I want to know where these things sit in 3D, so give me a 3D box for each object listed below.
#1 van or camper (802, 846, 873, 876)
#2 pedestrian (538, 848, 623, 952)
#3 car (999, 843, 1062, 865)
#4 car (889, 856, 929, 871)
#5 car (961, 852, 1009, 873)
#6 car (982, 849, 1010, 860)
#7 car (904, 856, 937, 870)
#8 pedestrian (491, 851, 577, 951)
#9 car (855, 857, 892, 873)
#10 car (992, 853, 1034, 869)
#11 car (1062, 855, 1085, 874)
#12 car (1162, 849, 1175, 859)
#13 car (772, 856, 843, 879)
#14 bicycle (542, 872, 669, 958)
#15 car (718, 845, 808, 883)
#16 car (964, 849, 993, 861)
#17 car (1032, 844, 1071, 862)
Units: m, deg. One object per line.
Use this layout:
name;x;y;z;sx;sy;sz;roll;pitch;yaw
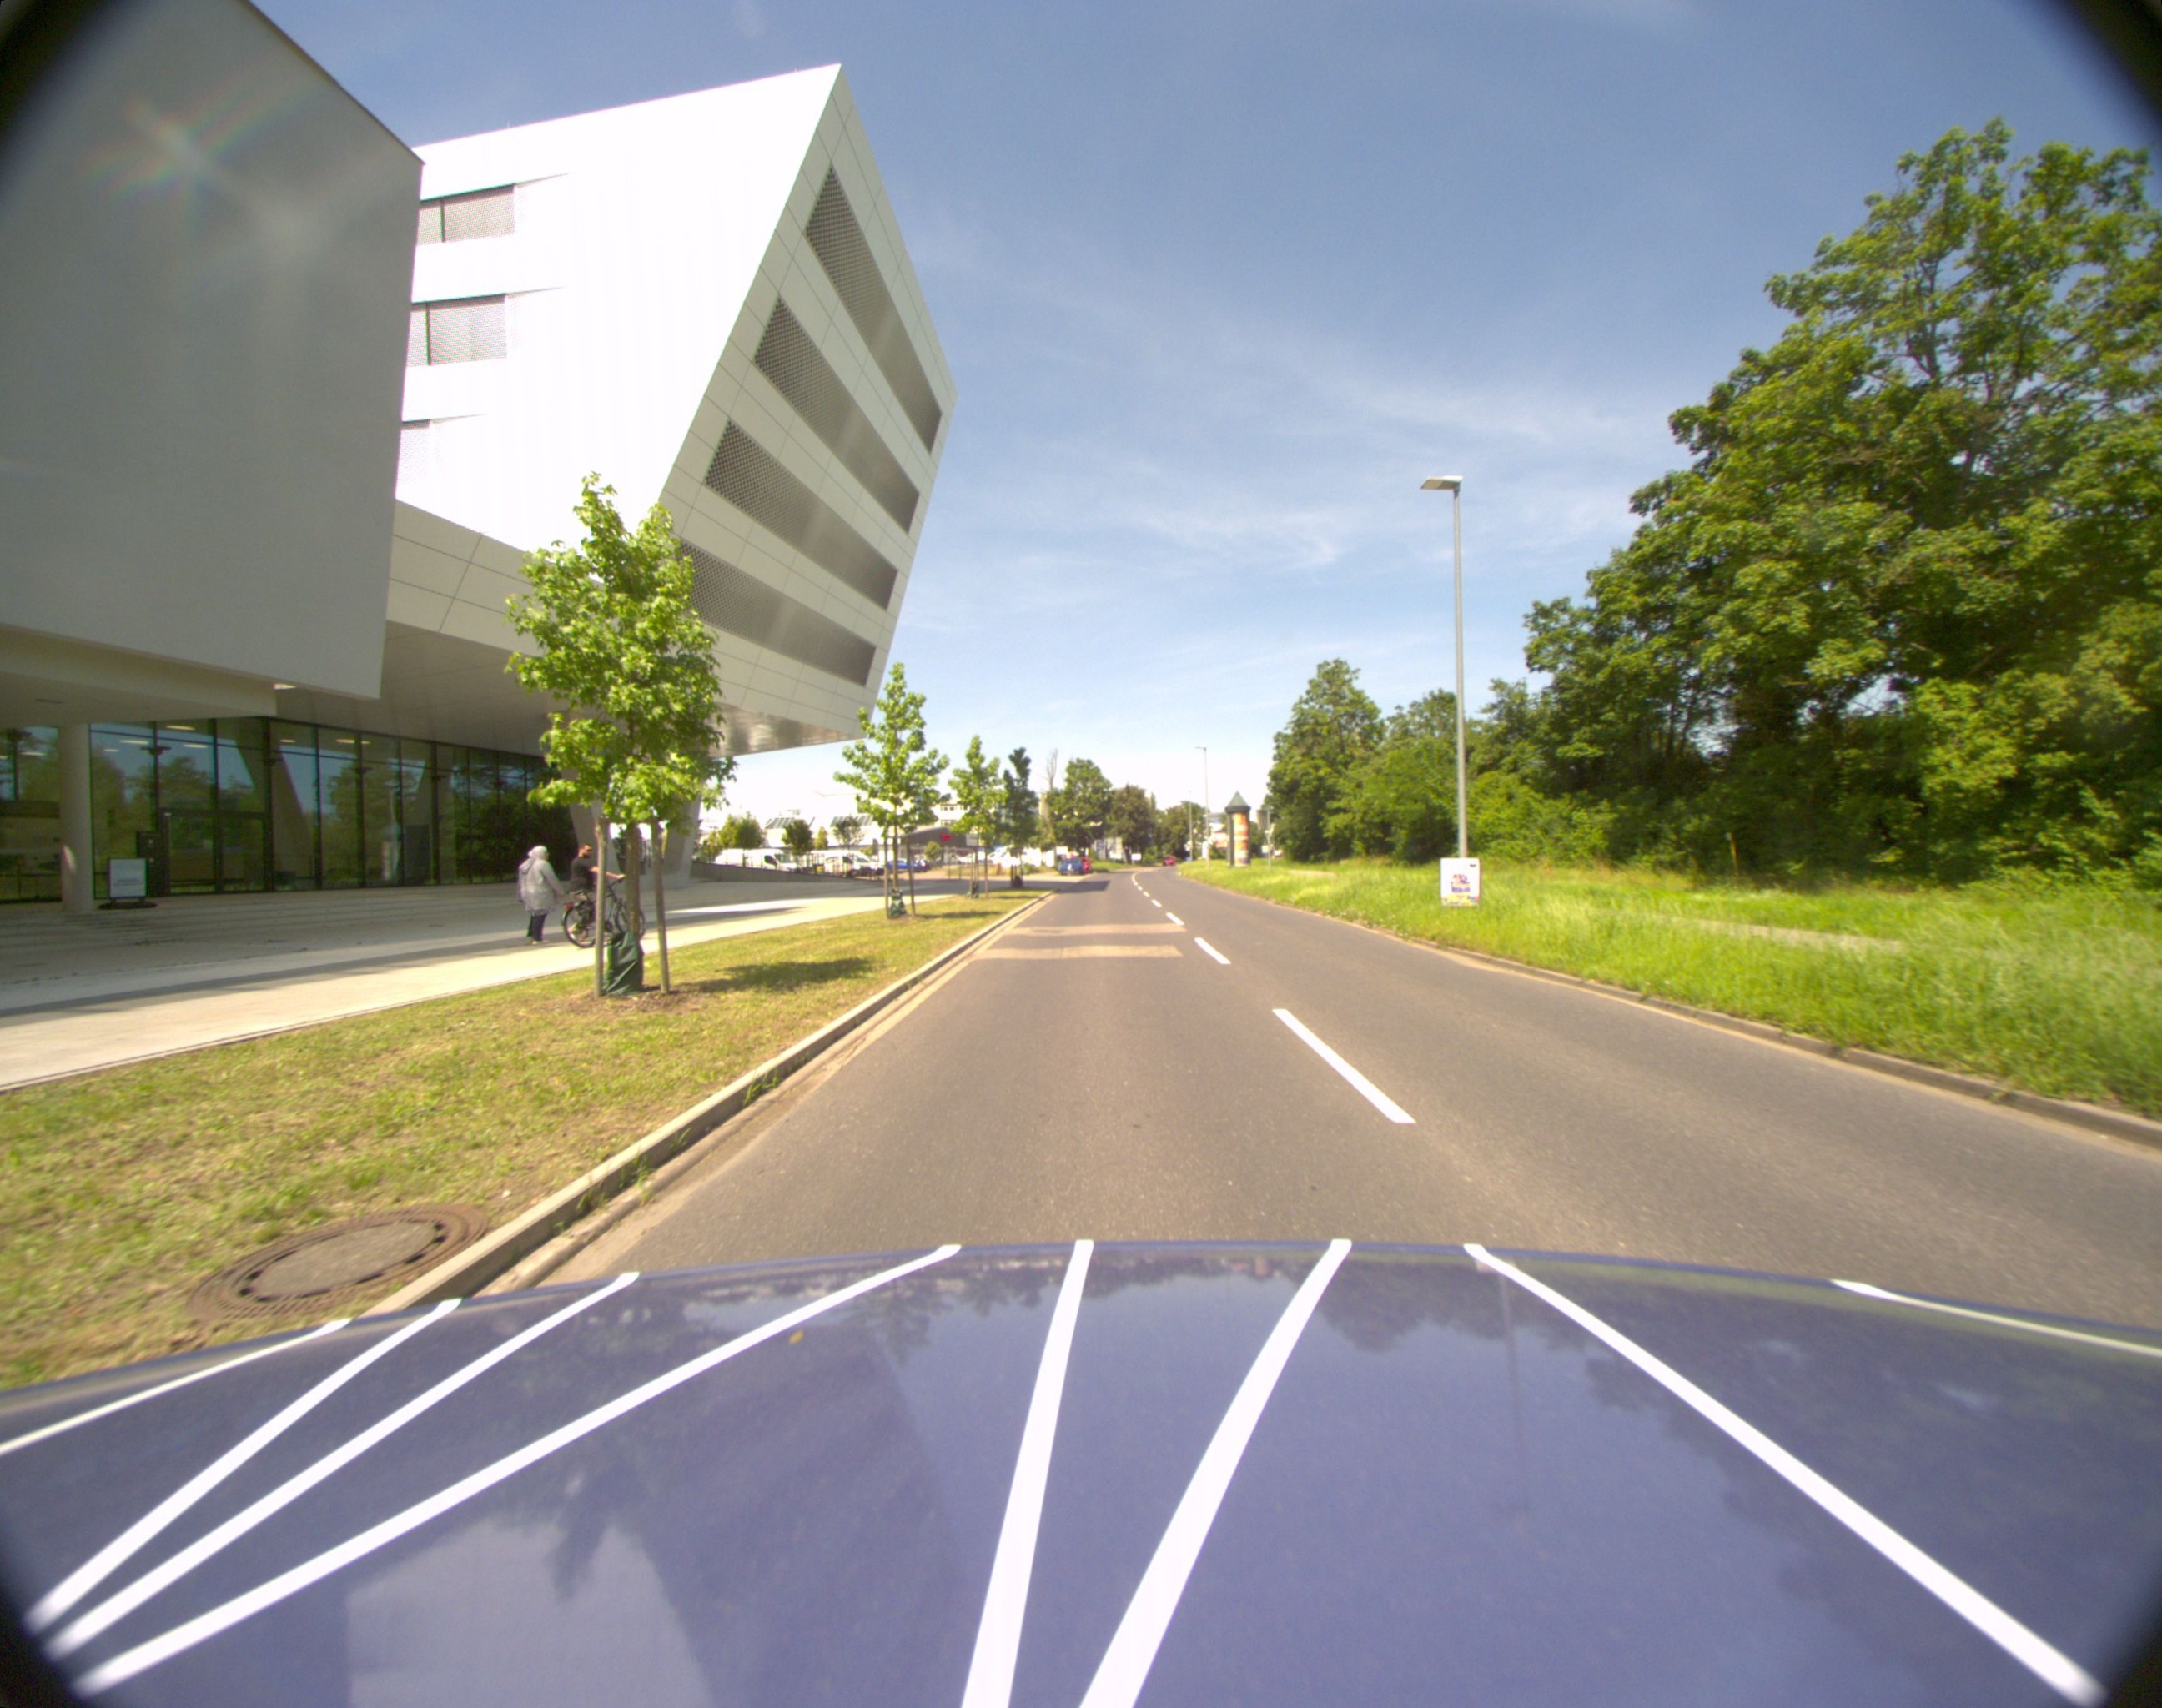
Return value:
van or camper;-21.494;0.617;67.216;5.698;2.376;1.704;-2;1;8
pedestrian;-8.600;0.769;13.090;0.844;1.691;0.775;-2;1;1
car;-5.546;0.025;83.810;6.491;2.137;2.166;-2;1;8
car;-18.345;1.014;80.896;3.815;1.362;1.459;-2;1;8
car;-8.420;0.733;66.948;3.821;1.664;1.742;-2;1;5
car;-13.966;0.066;124.777;4.320;1.648;1.704;-2;1;8
car;-17.631;0.958;83.633;3.226;1.342;1.409;-2;1;8
pedestrian;-9.443;0.784;13.147;0.844;1.650;0.775;-2;1;1
car;-18.951;0.990;69.444;2.894;1.296;1.201;-2;1;8
car;-6.845;0.665;76.612;3.995;1.385;1.653;-2;1;5
car;-0.610;0.888;64.772;1.801;1.490;4.000;-2;1;1
car;13.397;0.006;116.275;1.711;1.368;3.677;-2;1;10
car;-22.562;1.100;62.784;5.224;1.631;1.704;-2;1;8
bicycle;-8.061;0.979;13.028;0.645;1.247;2.305;-2;1;1
car;-22.733;0.684;54.443;5.580;2.446;2.001;-2;1;8
car;-15.298;0.180;113.316;3.916;1.533;1.704;-2;1;8
car;-3.486;-0.130;89.487;4.203;1.964;1.704;-2;1;8
